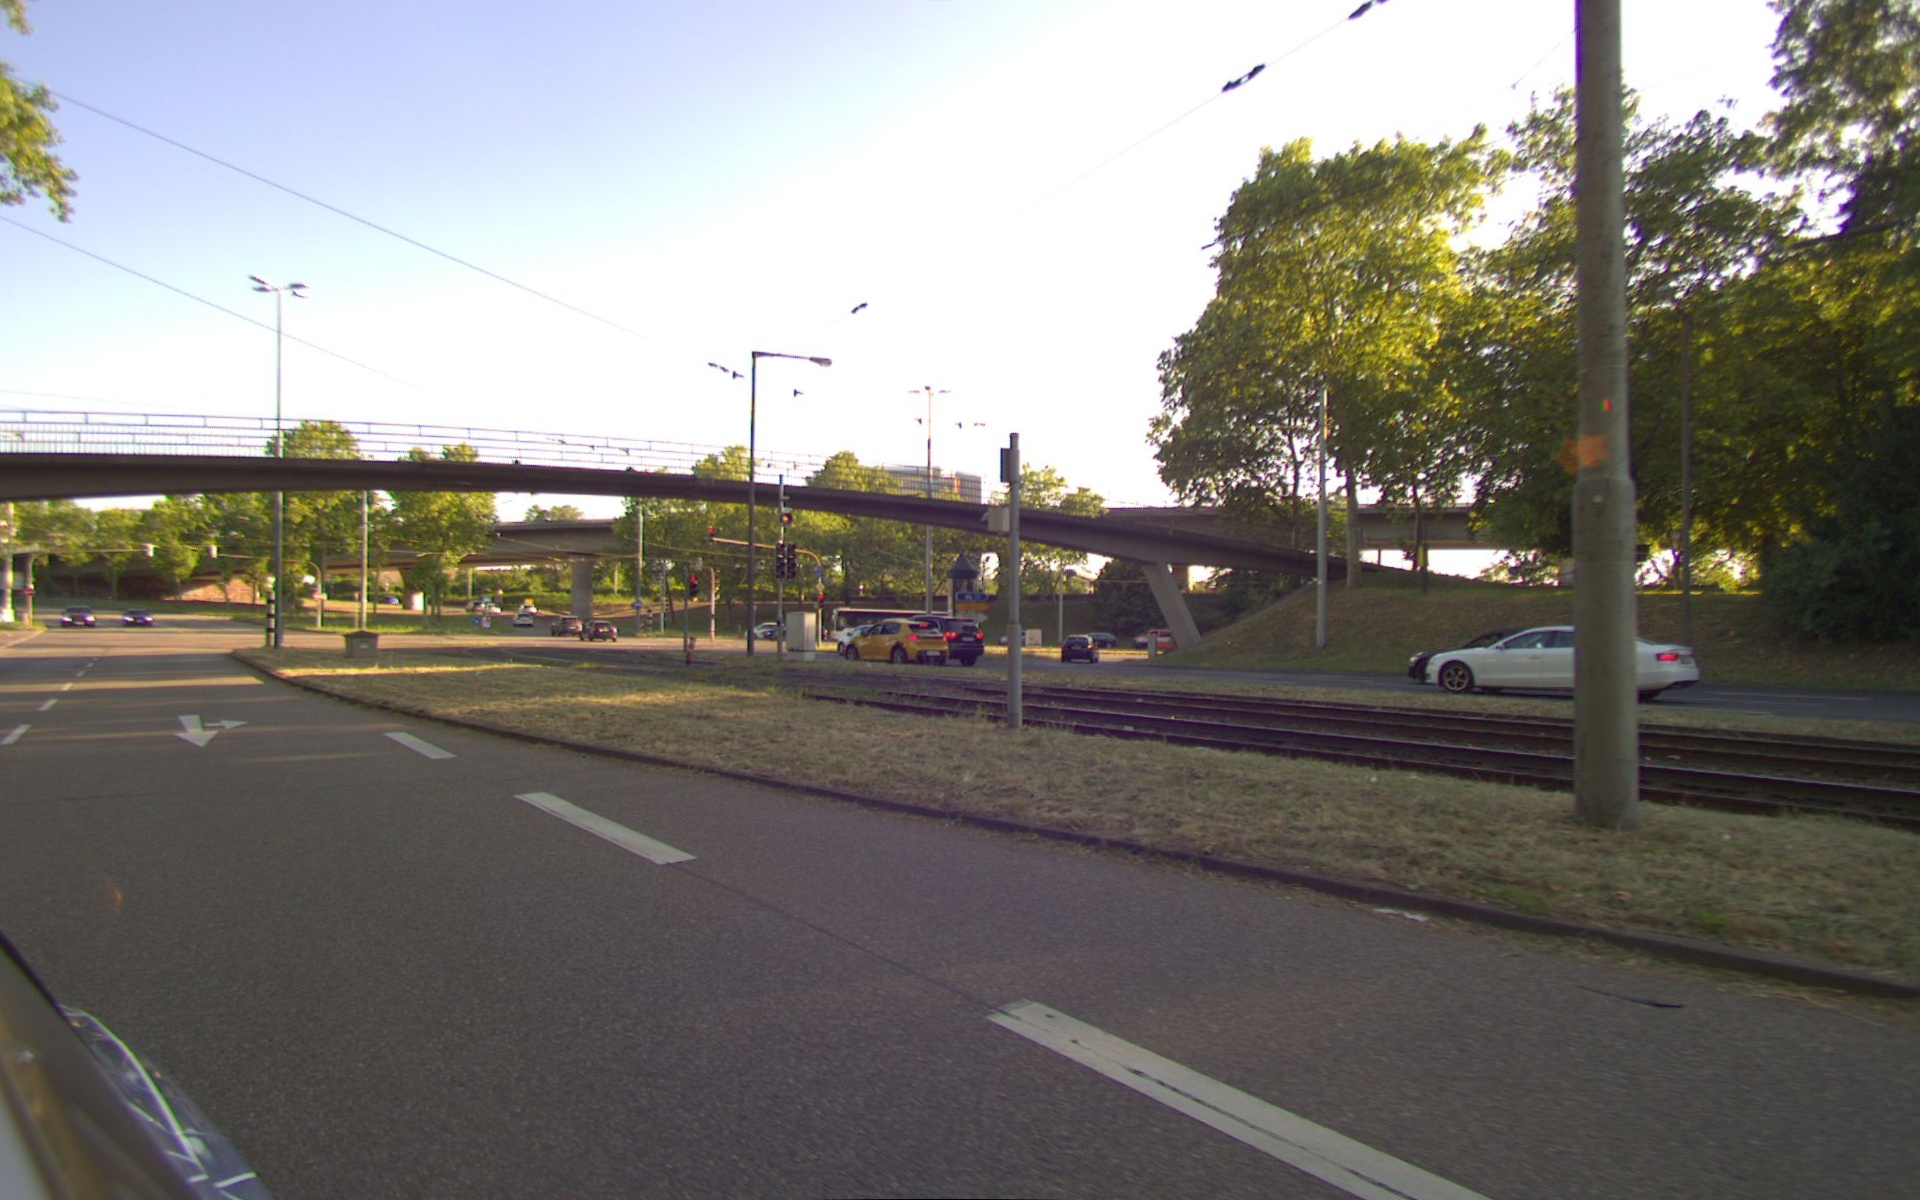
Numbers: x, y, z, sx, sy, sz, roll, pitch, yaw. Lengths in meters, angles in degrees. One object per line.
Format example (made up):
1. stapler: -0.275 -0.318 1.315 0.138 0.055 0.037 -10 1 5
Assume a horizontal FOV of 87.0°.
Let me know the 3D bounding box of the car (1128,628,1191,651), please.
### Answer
1. car: 18.482 3.641 93.754 5.335 2.029 2.005 1 -1 -12

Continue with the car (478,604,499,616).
1. car: -67.984 1.453 145.863 1.826 1.621 4.317 1 -1 -37

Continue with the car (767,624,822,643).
1. car: -12.933 2.618 79.223 4.025 1.364 1.722 1 -1 -17

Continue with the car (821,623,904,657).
1. car: -4.578 1.830 46.997 1.665 1.426 4.446 0 -1 -39

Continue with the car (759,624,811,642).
1. car: -14.143 2.651 81.837 3.931 1.364 1.615 1 -1 -19

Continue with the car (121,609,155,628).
1. car: -68.509 1.544 84.320 1.969 1.497 4.005 1 -2 -42

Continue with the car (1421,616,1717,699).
1. car: 11.732 1.038 19.789 1.815 1.426 4.608 1 -2 -39

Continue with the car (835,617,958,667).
1. car: -2.053 1.270 31.783 1.815 1.426 4.025 1 -1 -41

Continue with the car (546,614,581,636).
1. car: -31.787 1.992 81.106 1.766 1.663 4.369 1 -1 -33

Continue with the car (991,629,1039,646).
1. car: 4.935 3.389 91.307 3.931 1.453 1.710 1 -1 -17

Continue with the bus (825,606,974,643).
1. bus: -5.233 2.144 88.395 12.634 2.977 2.840 1 -1 -16

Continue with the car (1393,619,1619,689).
1. car: 13.077 1.228 24.480 1.815 1.493 4.444 0 -1 -39

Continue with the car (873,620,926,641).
1. car: -5.036 2.566 84.289 4.025 1.665 1.722 1 -1 -17

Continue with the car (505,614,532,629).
1. car: -46.332 2.250 106.161 1.978 1.454 4.875 1 -1 -31

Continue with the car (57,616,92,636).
1. car: -68.943 1.999 78.864 1.969 1.497 4.006 1 -2 -41

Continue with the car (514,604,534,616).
1. car: -61.393 1.398 142.426 1.826 1.621 4.382 1 -1 -34

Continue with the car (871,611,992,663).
1. car: -1.079 1.267 35.717 1.816 1.667 4.441 0 -1 -42

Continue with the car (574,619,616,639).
1. car: -25.063 1.975 69.430 1.664 1.320 4.320 1 -1 -35

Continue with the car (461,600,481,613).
1. car: -74.095 1.029 153.402 1.827 1.881 4.153 1 -1 -39

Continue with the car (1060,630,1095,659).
1. car: 6.353 2.392 55.182 1.670 1.426 4.187 -1 -1 4

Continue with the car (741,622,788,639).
1. car: -16.419 2.591 85.100 3.670 1.364 1.615 1 -1 -19
